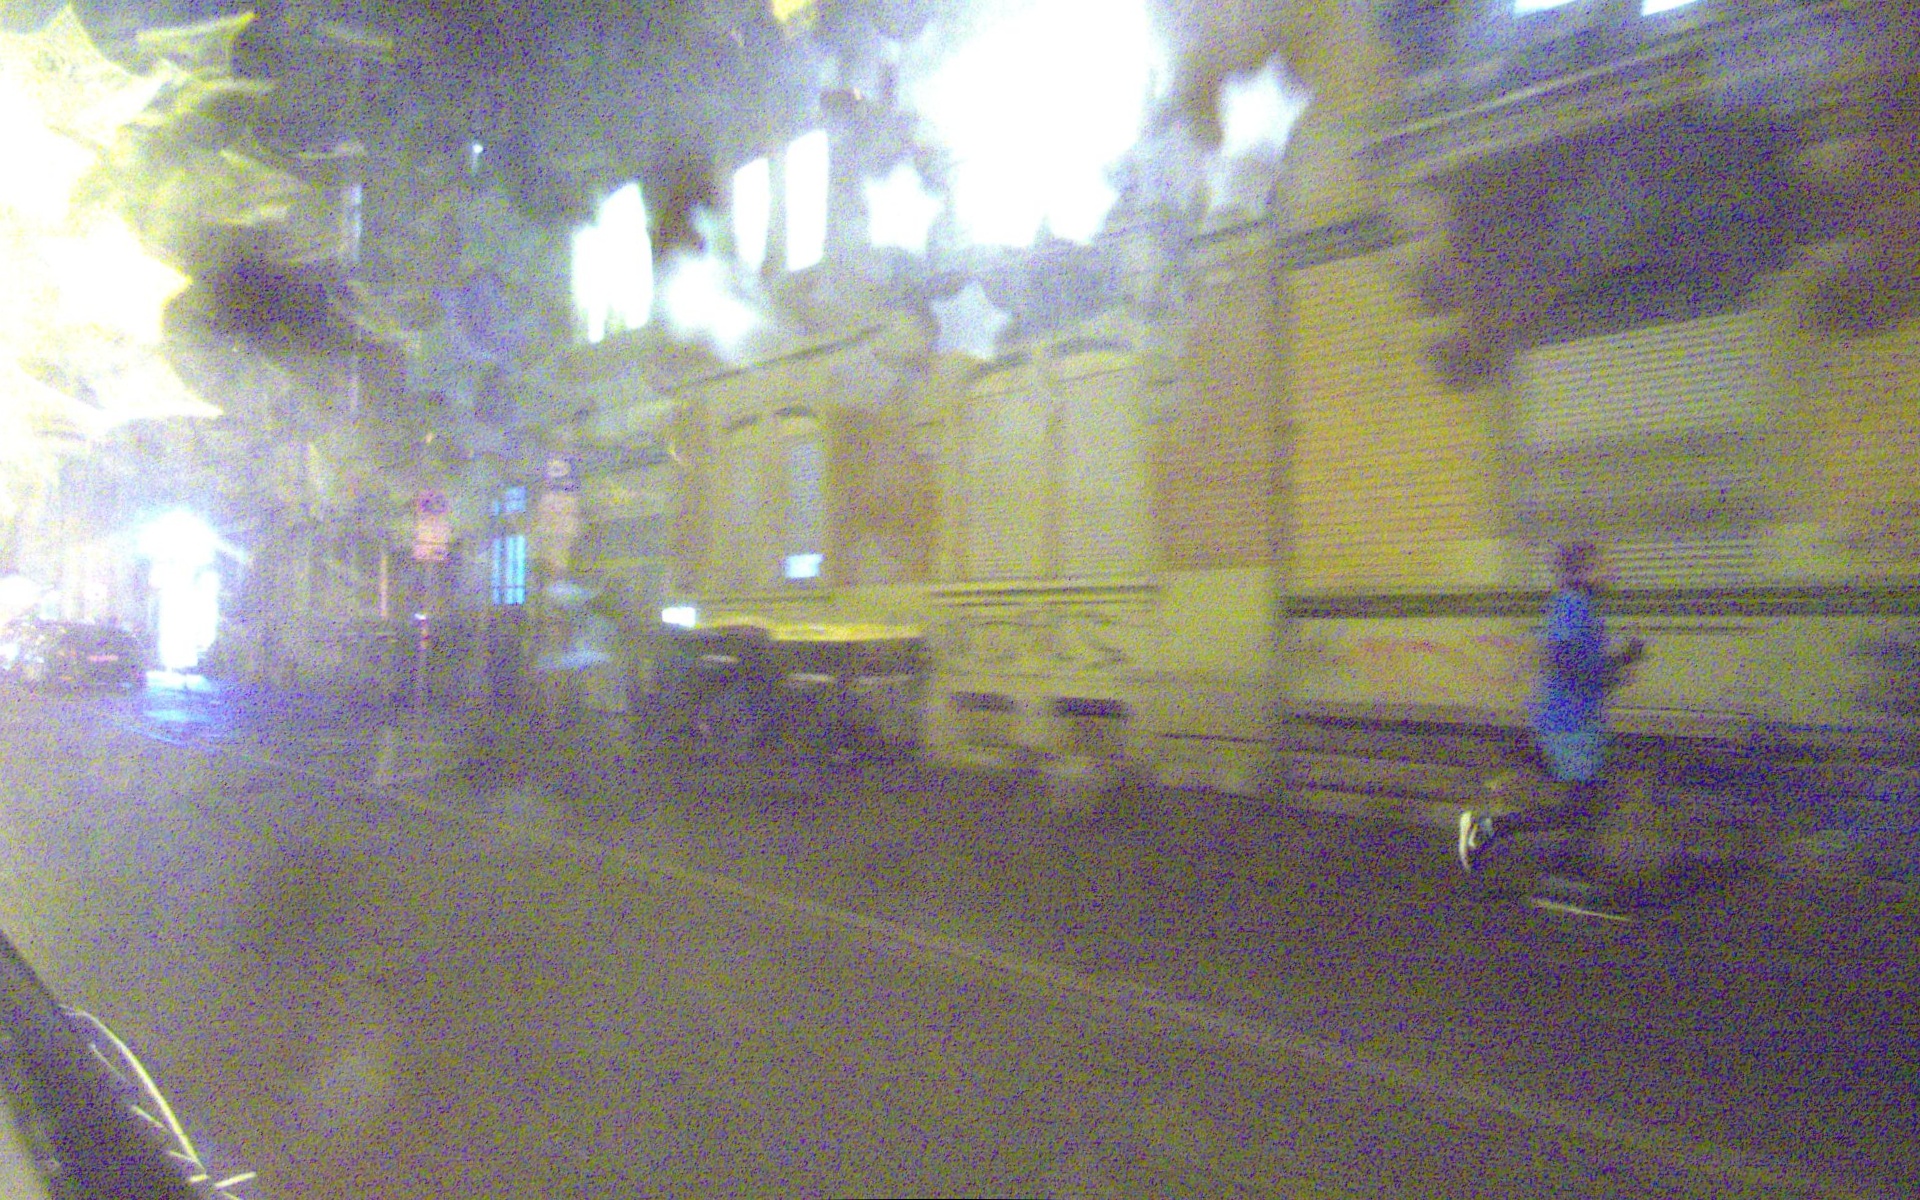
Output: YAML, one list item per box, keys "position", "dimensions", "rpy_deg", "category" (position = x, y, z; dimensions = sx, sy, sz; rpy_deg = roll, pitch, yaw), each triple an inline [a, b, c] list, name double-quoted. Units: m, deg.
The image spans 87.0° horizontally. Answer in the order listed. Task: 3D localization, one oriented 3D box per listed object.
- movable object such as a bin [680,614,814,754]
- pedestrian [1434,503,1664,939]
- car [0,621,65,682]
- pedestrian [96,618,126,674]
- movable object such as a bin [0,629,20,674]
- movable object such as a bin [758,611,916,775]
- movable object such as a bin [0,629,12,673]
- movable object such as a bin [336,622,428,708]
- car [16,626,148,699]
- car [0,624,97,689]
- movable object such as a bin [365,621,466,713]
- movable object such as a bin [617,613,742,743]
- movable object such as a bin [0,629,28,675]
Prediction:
- position: [-2.377, 0.893, 11.299]
  dimensions: [1.133, 1.430, 0.964]
  rpy_deg: [-2, 0, 43]
  category: "movable object such as a bin"
- position: [2.758, 0.511, 4.748]
  dimensions: [0.794, 1.834, 0.585]
  rpy_deg: [-2, 0, 41]
  category: "pedestrian"
- position: [-28.387, 1.519, 30.539]
  dimensions: [3.719, 1.719, 1.587]
  rpy_deg: [-2, -2, 41]
  category: "car"
- position: [-27.780, 1.495, 33.112]
  dimensions: [0.549, 1.795, 0.632]
  rpy_deg: [-2, -3, 41]
  category: "pedestrian"
- position: [-32.164, 1.715, 33.717]
  dimensions: [1.107, 1.470, 1.152]
  rpy_deg: [-2, 0, 43]
  category: "movable object such as a bin"
- position: [-1.174, 0.832, 9.617]
  dimensions: [1.133, 1.409, 0.964]
  rpy_deg: [-2, 0, 43]
  category: "movable object such as a bin"
- position: [-33.111, 1.752, 34.425]
  dimensions: [1.107, 1.470, 1.195]
  rpy_deg: [-2, 0, 43]
  category: "movable object such as a bin"
- position: [-10.281, 1.124, 18.002]
  dimensions: [1.154, 1.430, 1.128]
  rpy_deg: [-2, 0, 43]
  category: "movable object such as a bin"
- position: [-20.012, 1.369, 23.008]
  dimensions: [4.312, 1.466, 1.669]
  rpy_deg: [-2, -1, 41]
  category: "car"
- position: [-24.141, 1.454, 26.638]
  dimensions: [4.022, 1.564, 1.587]
  rpy_deg: [-2, -1, 41]
  category: "car"
- position: [-9.103, 1.085, 16.909]
  dimensions: [1.248, 1.430, 1.128]
  rpy_deg: [-2, 0, 43]
  category: "movable object such as a bin"
- position: [-3.345, 0.893, 12.067]
  dimensions: [1.133, 1.430, 0.964]
  rpy_deg: [-2, 0, 43]
  category: "movable object such as a bin"
- position: [-31.176, 1.686, 32.853]
  dimensions: [1.150, 1.470, 1.249]
  rpy_deg: [-2, 0, 43]
  category: "movable object such as a bin"
